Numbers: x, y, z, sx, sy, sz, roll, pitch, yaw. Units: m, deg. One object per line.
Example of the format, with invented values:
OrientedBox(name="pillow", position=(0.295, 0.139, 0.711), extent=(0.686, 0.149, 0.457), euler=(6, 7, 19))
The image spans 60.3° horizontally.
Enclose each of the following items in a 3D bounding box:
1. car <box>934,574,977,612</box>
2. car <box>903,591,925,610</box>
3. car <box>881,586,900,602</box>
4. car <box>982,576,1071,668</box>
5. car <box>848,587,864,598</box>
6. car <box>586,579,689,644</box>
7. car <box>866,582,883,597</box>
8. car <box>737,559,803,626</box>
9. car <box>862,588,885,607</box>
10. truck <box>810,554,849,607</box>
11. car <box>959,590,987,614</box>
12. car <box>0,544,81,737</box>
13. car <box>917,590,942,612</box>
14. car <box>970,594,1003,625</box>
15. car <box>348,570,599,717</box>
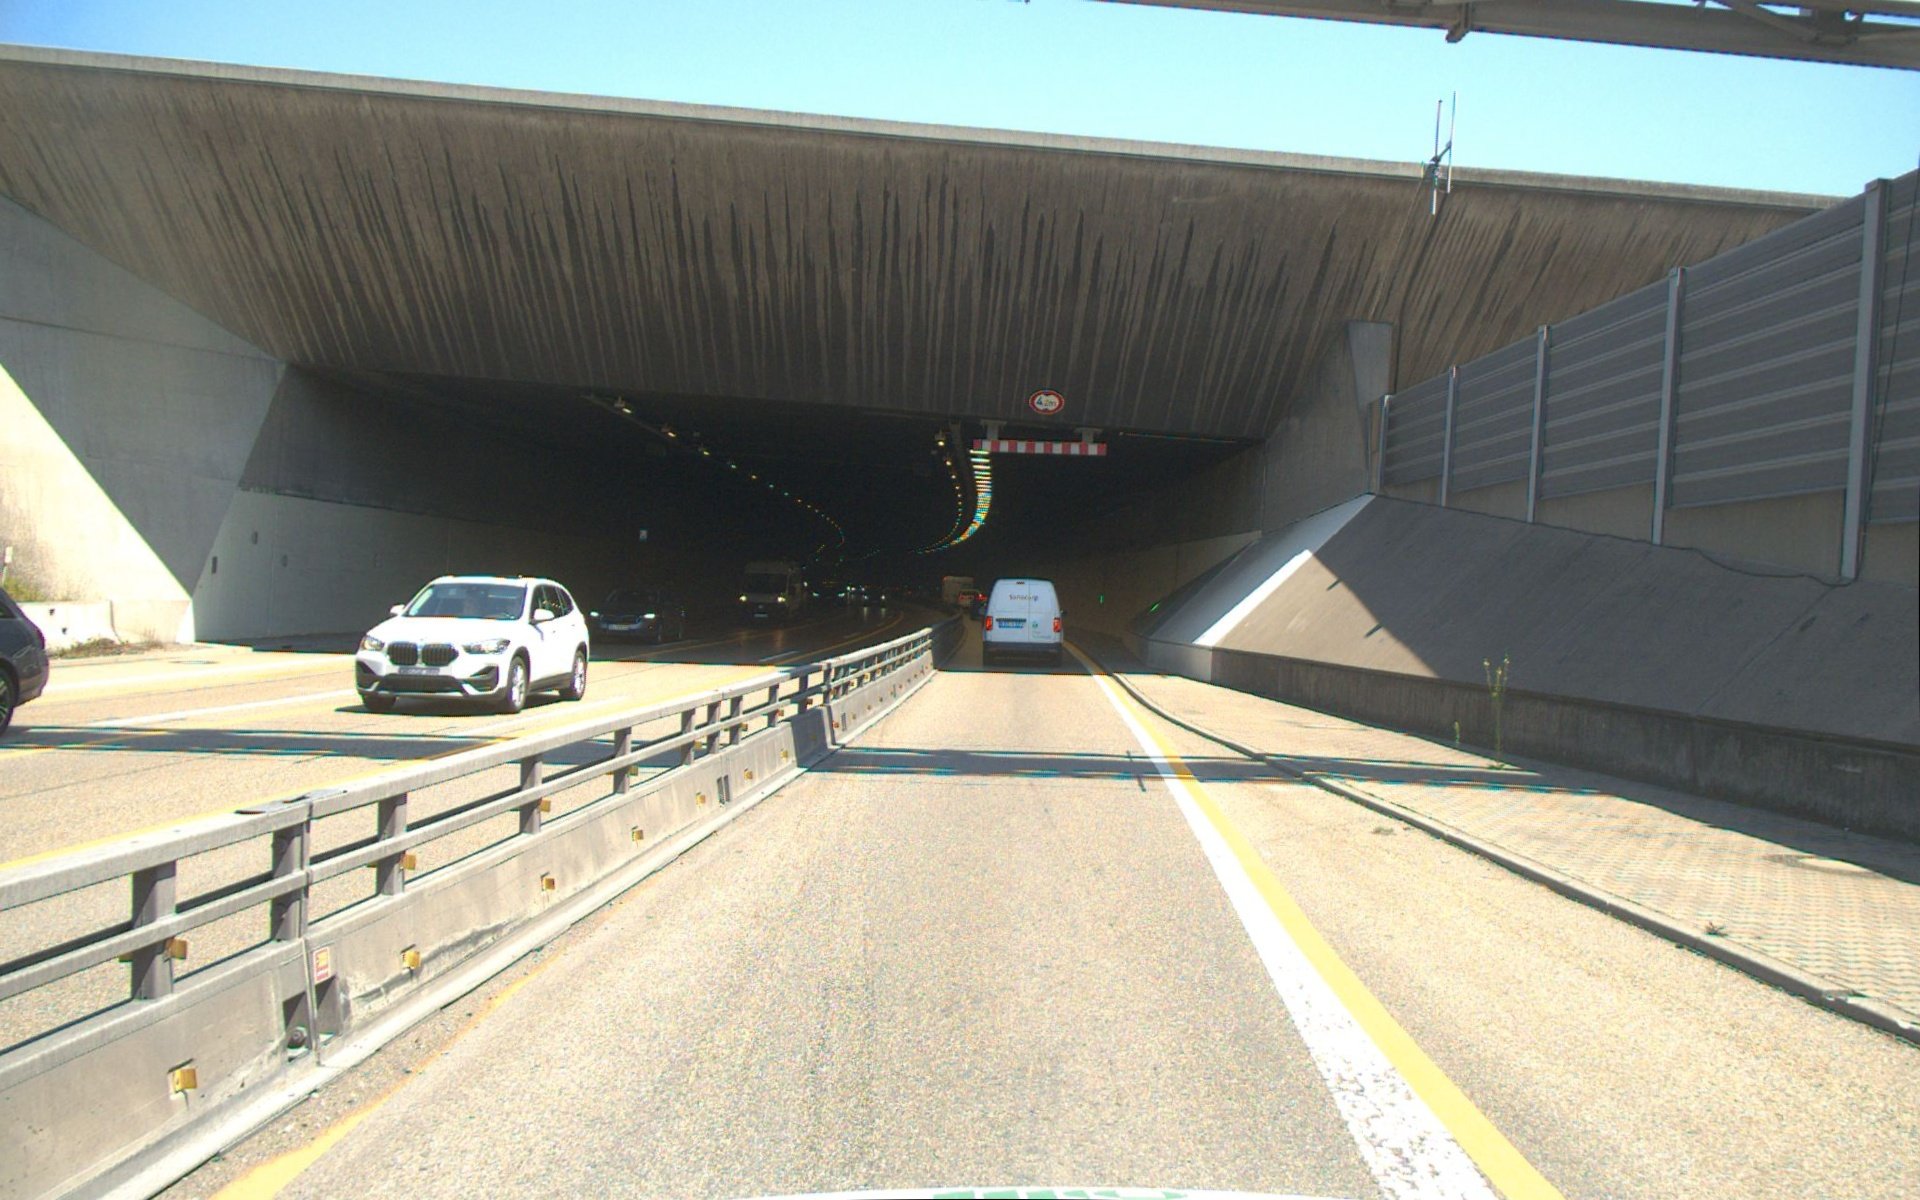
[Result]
OrientedBox(name="car", position=(-0.390, -0.561, 131.418), extent=(2.759, 2.821, 7.095), euler=(3, 0, -5))
OrientedBox(name="car", position=(-5.118, 0.024, 183.114), extent=(1.903, 2.056, 4.654), euler=(1, 0, -8))
OrientedBox(name="car", position=(-9.062, -0.762, 215.300), extent=(1.903, 2.056, 4.654), euler=(1, 0, -8))
OrientedBox(name="car", position=(1.413, 0.473, 36.371), extent=(1.771, 1.825, 3.731), euler=(3, 0, 1))
OrientedBox(name="car", position=(-14.117, -1.054, 223.699), extent=(1.787, 1.482, 4.085), euler=(1, 0, -9))
OrientedBox(name="car", position=(-8.204, 0.260, 42.454), extent=(1.737, 1.542, 4.564), euler=(1, 0, 0))
OrientedBox(name="car", position=(-12.367, -1.560, 239.278), extent=(2.034, 2.056, 4.654), euler=(1, 0, -8))
OrientedBox(name="car", position=(-7.525, -0.310, 66.115), extent=(1.953, 2.559, 6.041), euler=(1, 0, -1))
OrientedBox(name="car", position=(-6.914, -0.214, 132.234), extent=(1.785, 1.482, 4.090), euler=(1, 0, -4))
OrientedBox(name="truck", position=(-10.134, -1.520, 128.807), extent=(2.754, 3.984, 6.452), euler=(1, 0, -3))
OrientedBox(name="car", position=(0.870, 0.097, 112.131), extent=(1.567, 1.573, 3.675), euler=(1, 0, -4))
OrientedBox(name="car", position=(-9.386, 0.353, 13.357), extent=(1.736, 1.695, 4.809), euler=(1, 0, 4))
OrientedBox(name="car", position=(-3.130, 0.070, 167.588), extent=(1.996, 2.056, 4.625), euler=(5, 0, -6))
OrientedBox(name="car", position=(1.404, 0.495, 89.087), extent=(1.566, 1.573, 3.676), euler=(2, 0, -2))
OrientedBox(name="car", position=(-5.888, 0.464, 20.595), extent=(1.737, 1.605, 4.447), euler=(1, 0, 1))
